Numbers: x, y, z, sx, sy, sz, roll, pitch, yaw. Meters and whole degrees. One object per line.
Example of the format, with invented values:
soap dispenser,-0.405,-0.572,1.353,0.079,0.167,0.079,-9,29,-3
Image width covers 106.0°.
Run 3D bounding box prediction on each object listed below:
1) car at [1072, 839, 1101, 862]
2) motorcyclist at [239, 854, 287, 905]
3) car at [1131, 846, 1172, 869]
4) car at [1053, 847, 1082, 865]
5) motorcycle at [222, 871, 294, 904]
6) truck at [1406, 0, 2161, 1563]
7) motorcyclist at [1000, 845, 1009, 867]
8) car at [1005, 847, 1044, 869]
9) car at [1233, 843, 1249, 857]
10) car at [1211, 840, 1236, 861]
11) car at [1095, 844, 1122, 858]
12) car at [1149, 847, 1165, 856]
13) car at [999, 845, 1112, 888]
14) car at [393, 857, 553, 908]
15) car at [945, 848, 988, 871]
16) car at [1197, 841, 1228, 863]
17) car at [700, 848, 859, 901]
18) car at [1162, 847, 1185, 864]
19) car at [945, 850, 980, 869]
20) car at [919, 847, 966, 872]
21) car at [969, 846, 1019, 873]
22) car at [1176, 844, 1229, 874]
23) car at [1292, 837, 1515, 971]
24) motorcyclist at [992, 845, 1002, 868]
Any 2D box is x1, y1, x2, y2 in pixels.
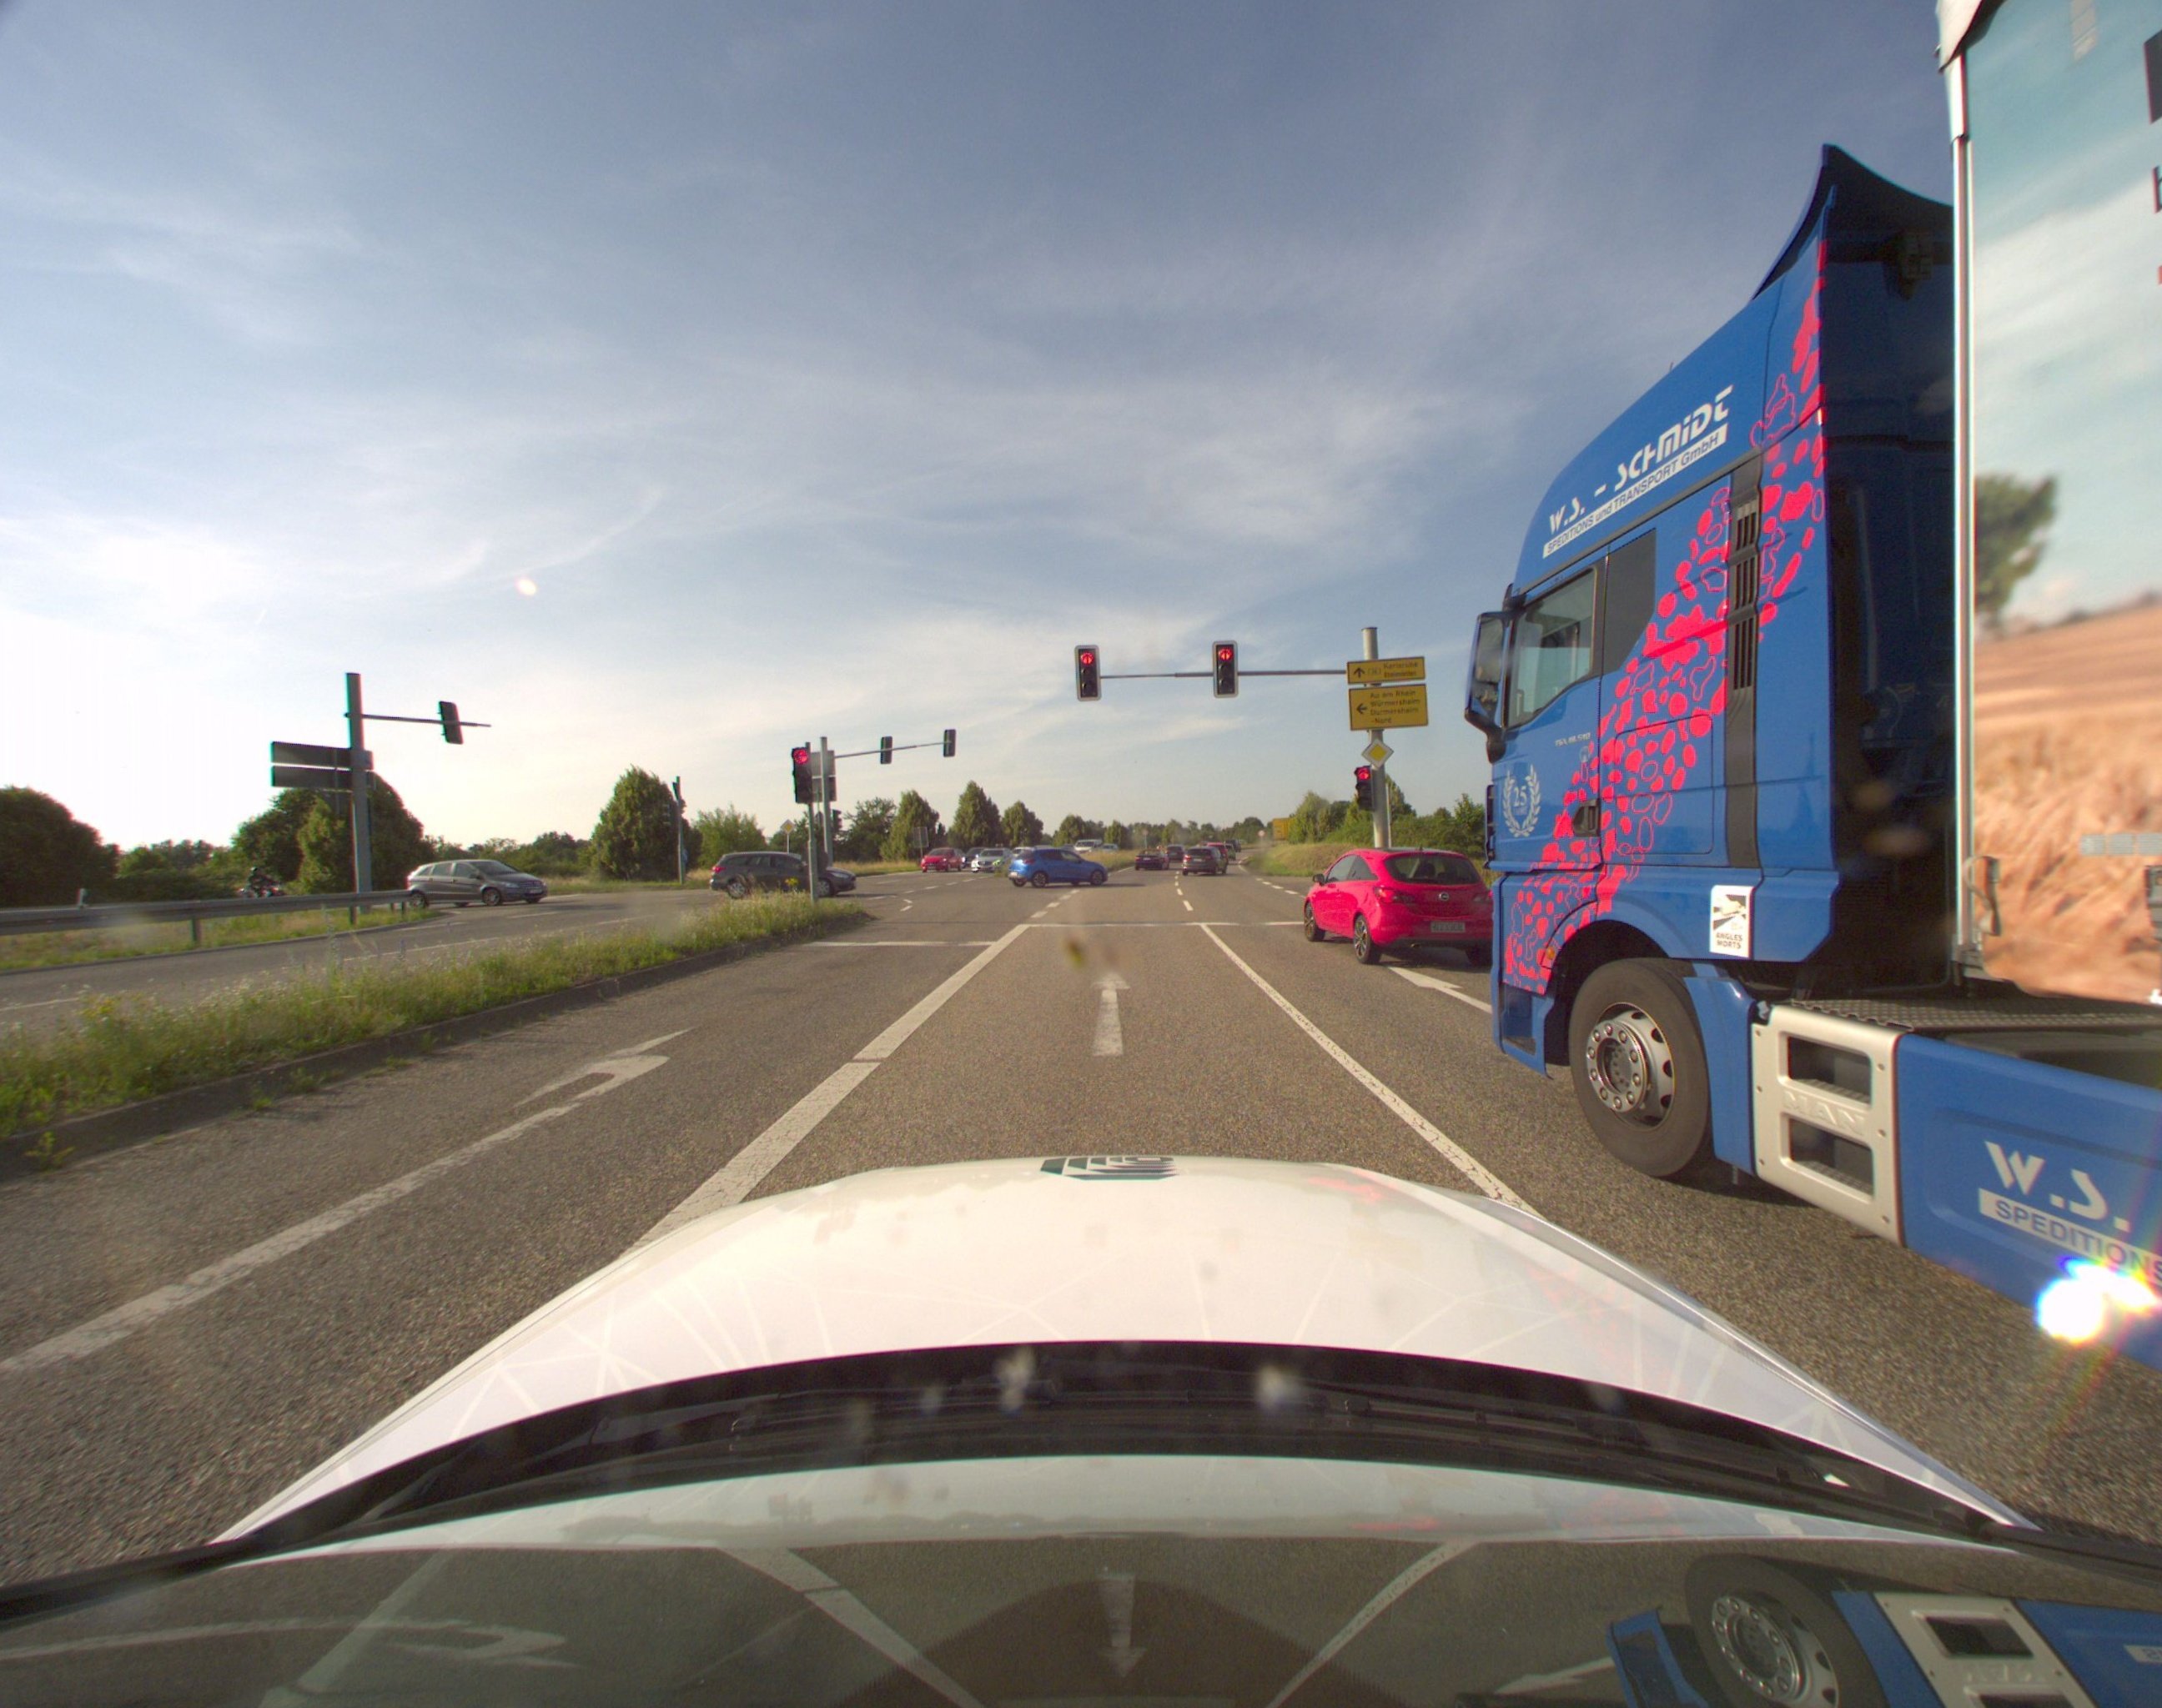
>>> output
car,0.599,-0.375,78.198,1.912,2.078,4.257,-2,0,12
motorcyclist,-29.083,0.891,28.955,0.822,1.758,0.911,-1,0,19
car,4.379,0.208,50.024,1.895,1.323,4.293,-1,-1,14
car,-1.081,0.150,68.812,1.776,1.385,4.061,-2,0,8
motorcycle,-29.267,1.190,28.974,2.146,1.124,0.945,-1,0,19
truck,3.879,-0.867,2.685,3.289,4.657,5.731,-1,0,0
motorcyclist,-6.248,0.166,66.482,0.660,1.817,0.605,-2,0,1
car,-3.935,0.276,57.378,1.776,1.433,4.319,-2,0,8
car,21.296,-0.493,108.500,1.897,1.734,4.289,-1,-1,10
car,12.609,-0.278,72.241,1.899,1.800,4.285,-1,-1,6
car,3.019,-0.357,87.733,1.772,1.385,4.070,-2,0,18
car,12.709,-0.373,135.268,1.772,1.385,4.070,-2,0,18
car,-0.950,0.458,31.292,3.999,1.492,1.761,-2,0,-32
car,-20.322,0.937,27.302,4.160,1.605,1.793,-1,-1,6
car,-7.900,0.371,56.583,1.776,1.433,4.061,-2,0,8
car,9.766,-0.097,60.567,1.886,1.565,4.283,-1,-1,4
car,-9.674,0.633,26.457,4.514,1.565,1.810,-1,0,-8
car,7.729,0.126,68.258,1.827,1.377,4.284,-1,-1,5
car,-8.855,0.382,61.109,1.429,1.292,4.682,-2,0,7
car,-8.673,0.311,51.139,1.710,1.488,3.814,-2,0,9
car,-5.171,0.314,48.990,1.776,1.488,4.662,-2,0,8
car,6.151,0.270,40.955,1.898,1.416,3.814,-1,-1,20
car,4.334,0.585,11.597,1.691,1.549,3.750,-2,0,0
motorcyclist,-6.474,0.209,62.868,0.660,1.747,0.605,-2,0,1
